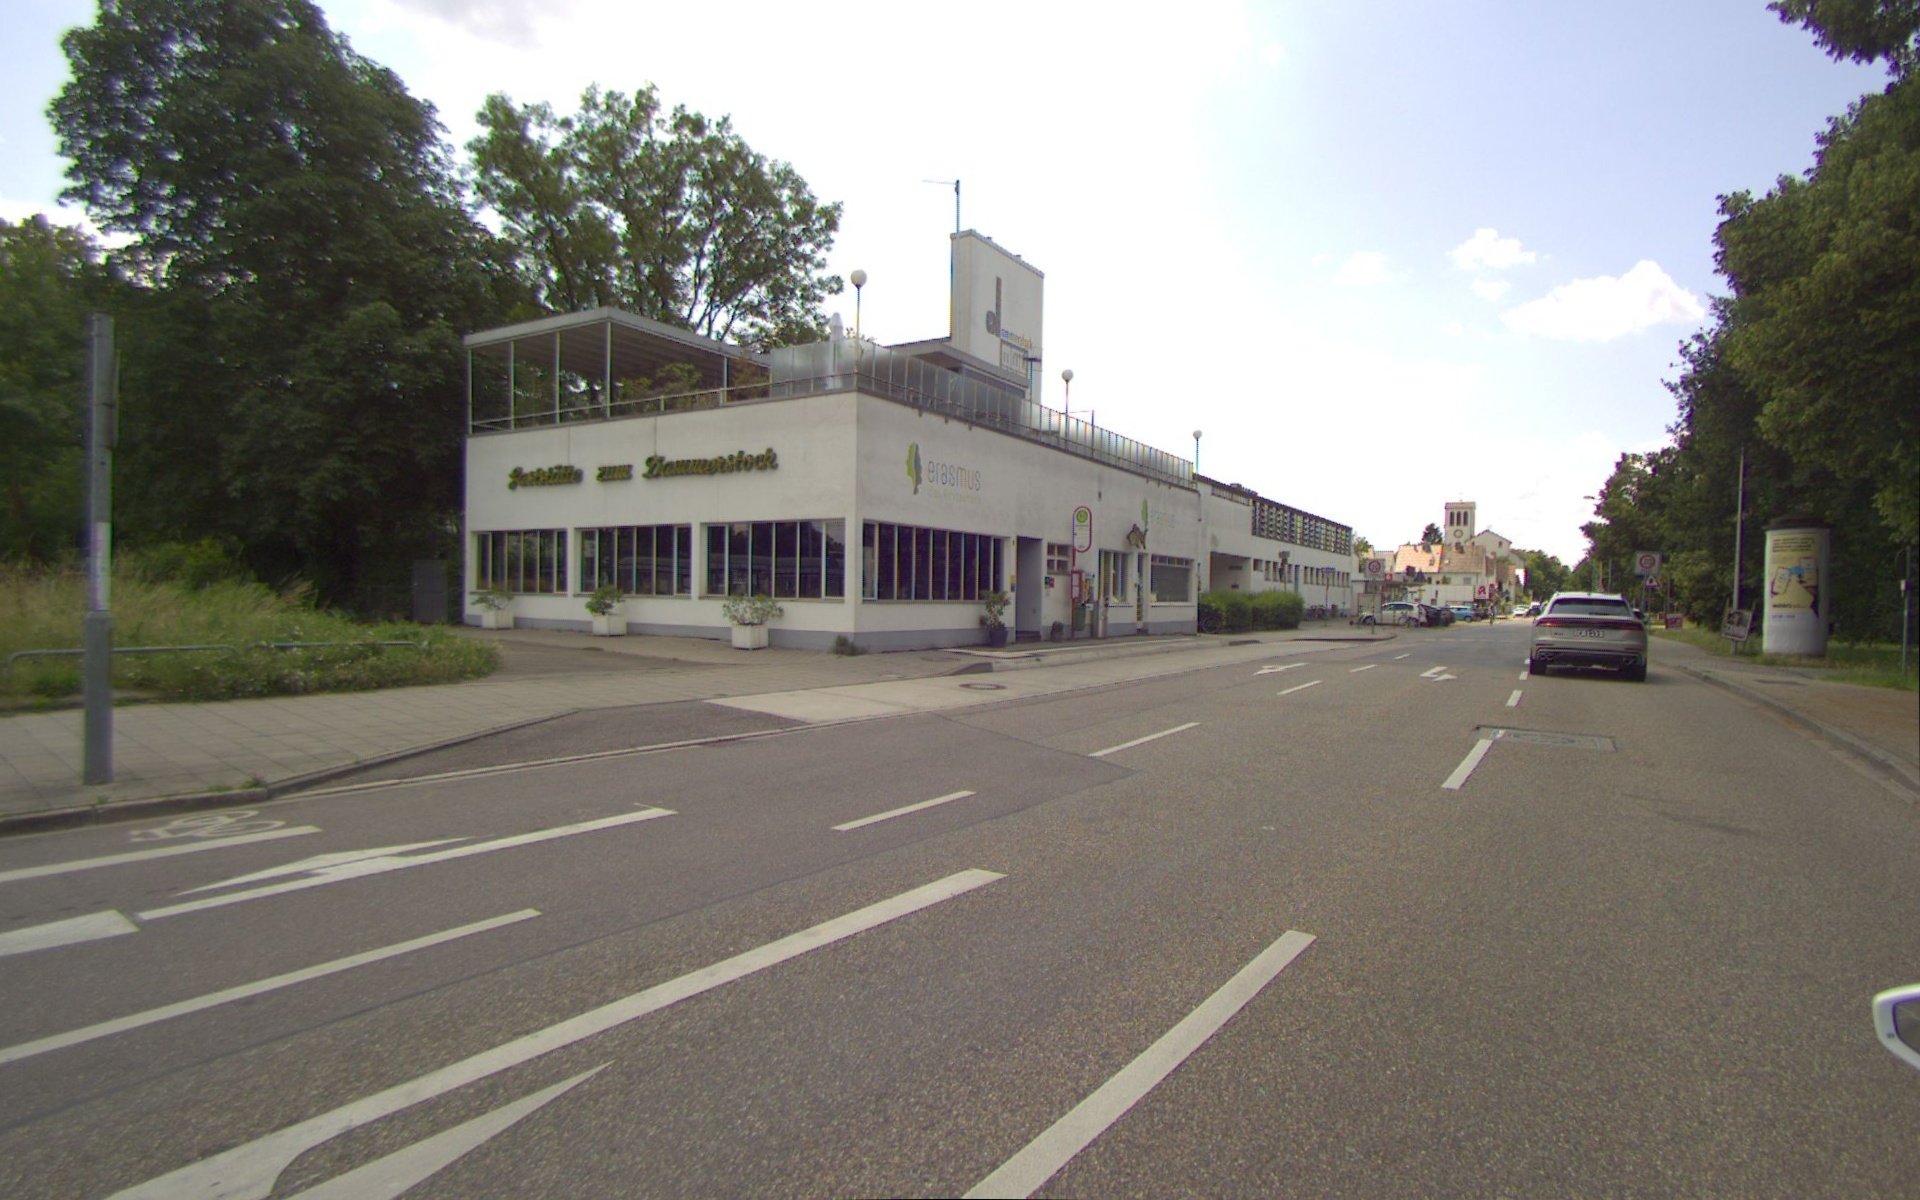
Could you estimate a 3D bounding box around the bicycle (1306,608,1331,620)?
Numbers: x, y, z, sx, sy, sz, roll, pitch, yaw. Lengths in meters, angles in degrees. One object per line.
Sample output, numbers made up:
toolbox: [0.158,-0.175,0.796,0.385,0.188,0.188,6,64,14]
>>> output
bicycle: [26.137,1.010,73.266,1.641,0.767,0.570,2,1,6]

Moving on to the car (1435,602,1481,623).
car: [48.131,1.192,97.225,3.925,2.040,1.998,1,0,26]

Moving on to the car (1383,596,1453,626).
car: [33.337,0.811,73.139,4.560,2.040,1.998,1,-1,27]

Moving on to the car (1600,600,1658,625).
car: [56.451,1.019,84.749,3.937,2.040,1.992,1,0,38]

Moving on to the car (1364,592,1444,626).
car: [28.240,0.547,63.888,4.560,2.040,1.998,1,-1,27]

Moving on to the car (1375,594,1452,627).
car: [30.296,0.691,67.086,4.560,2.040,1.998,1,-1,27]

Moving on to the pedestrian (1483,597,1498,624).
pedestrian: [42.844,0.834,81.116,0.896,2.164,1.011,1,1,33]

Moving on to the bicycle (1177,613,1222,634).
bicycle: [9.169,0.885,38.468,1.641,0.768,0.411,1,1,14]

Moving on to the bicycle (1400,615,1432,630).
bicycle: [27.150,1.330,59.815,1.644,0.767,0.569,3,1,27]

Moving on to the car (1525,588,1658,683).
car: [13.304,0.654,21.044,1.956,1.706,4.557,3,2,37]

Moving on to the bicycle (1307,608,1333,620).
bicycle: [25.982,1.024,72.504,1.641,0.767,0.570,2,1,6]
